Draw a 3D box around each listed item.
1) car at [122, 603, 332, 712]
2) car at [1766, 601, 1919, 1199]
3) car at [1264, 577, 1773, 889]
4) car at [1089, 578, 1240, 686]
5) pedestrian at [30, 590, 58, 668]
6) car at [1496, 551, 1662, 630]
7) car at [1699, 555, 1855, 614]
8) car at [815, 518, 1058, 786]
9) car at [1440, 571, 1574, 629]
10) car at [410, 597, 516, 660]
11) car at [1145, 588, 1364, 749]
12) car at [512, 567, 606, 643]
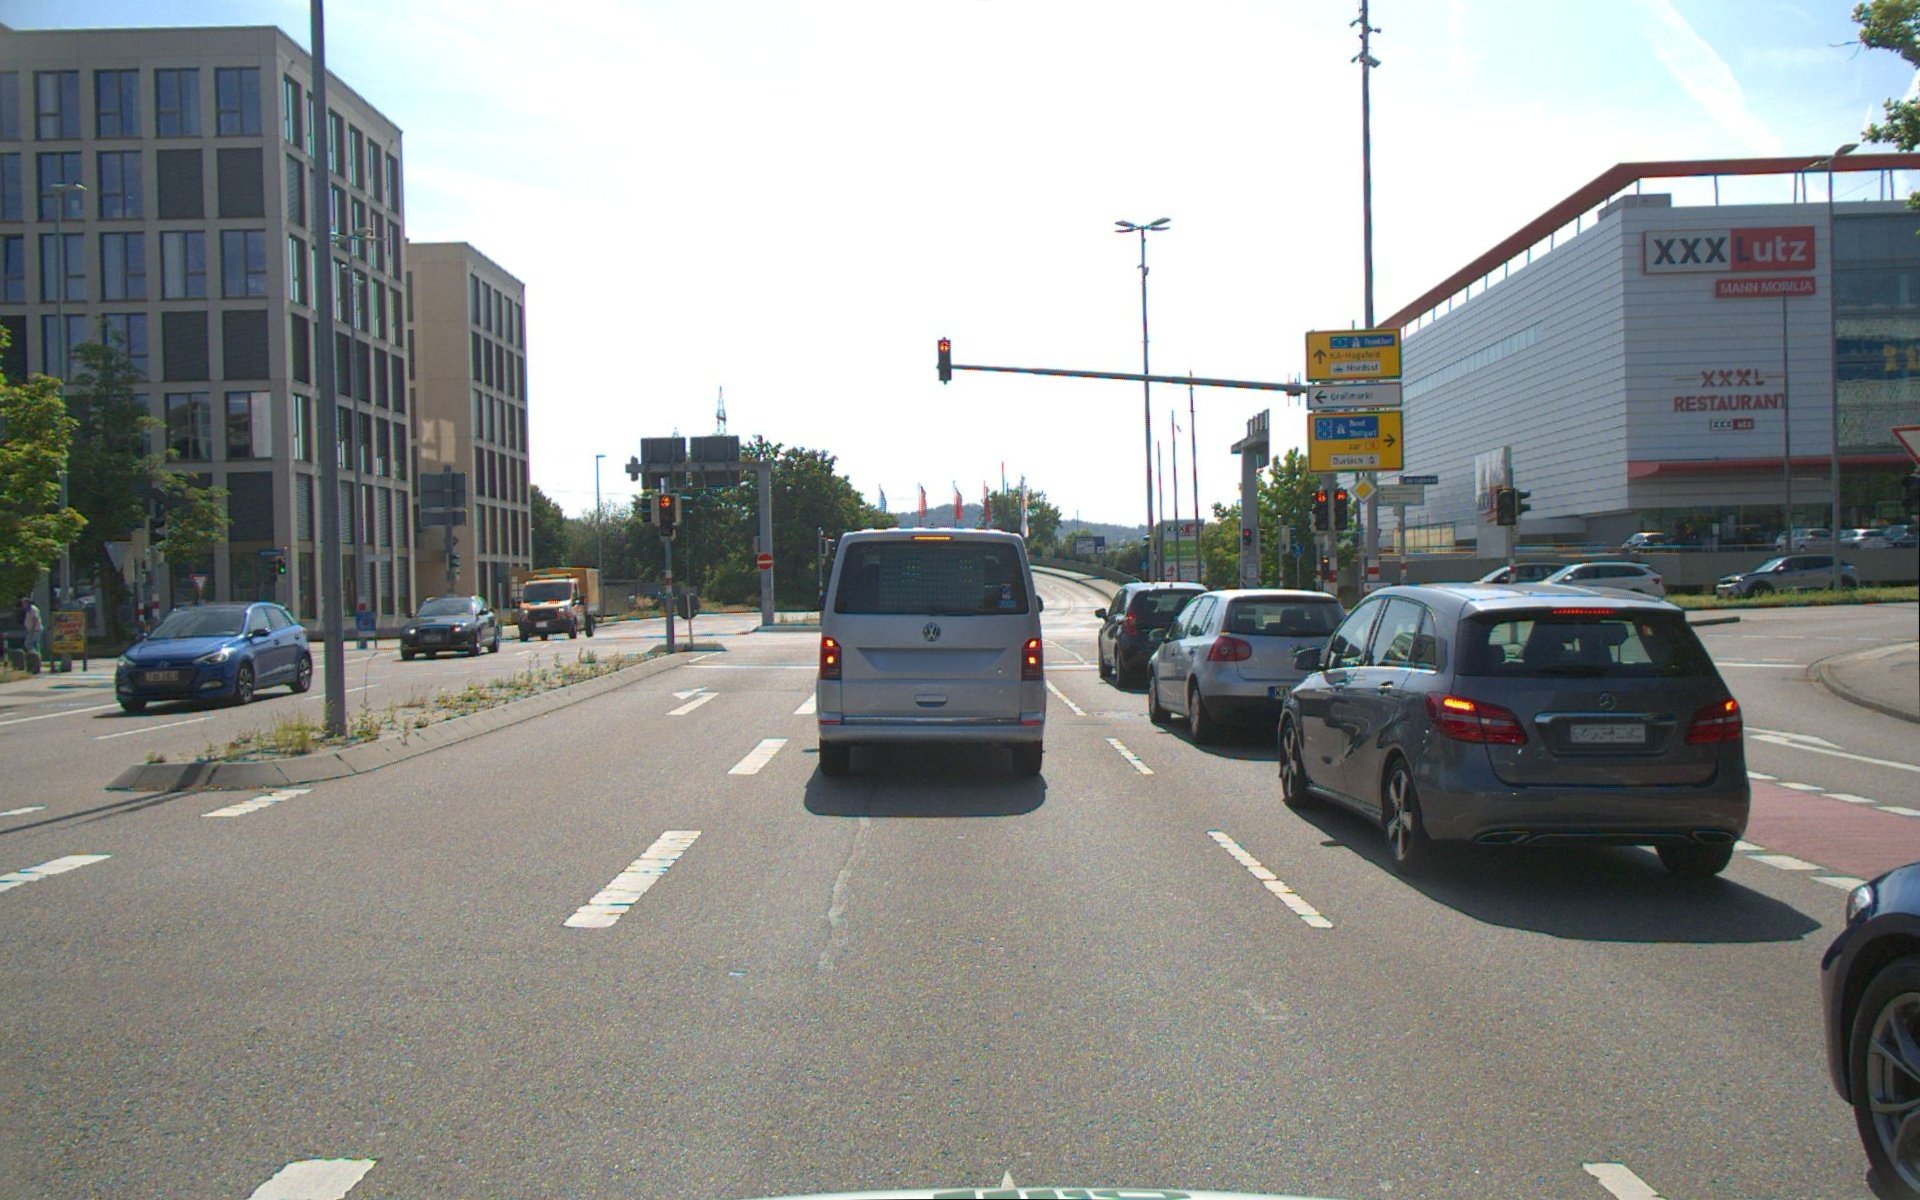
[{"bbox_3d":[-11.162,0.817,25.471,1.648,1.381,3.839,-2,2,-3],"label":"car"},{"bbox_3d":[3.180,0.766,2.460,1.711,1.484,4.475,0,1,-1],"label":"car"},{"bbox_3d":[3.158,0.639,10.260,1.711,1.543,4.077,0,1,-1],"label":"car"},{"bbox_3d":[3.114,0.439,25.910,1.799,1.552,3.999,0,0,-1],"label":"car"},{"bbox_3d":[-24.252,0.761,43.777,0.569,2.049,0.554,-2,0,-34],"label":"pedestrian"},{"bbox_3d":[18.481,-0.285,49.497,4.310,2.029,1.481,-4,0,3],"label":"car"},{"bbox_3d":[25.589,-0.489,51.892,4.046,1.545,1.481,-4,0,3],"label":"car"},{"bbox_3d":[-0.212,0.373,14.563,1.846,2.025,3.999,0,0,-1],"label":"car"},{"bbox_3d":[17.374,-0.006,52.627,3.694,1.545,1.481,-4,0,3],"label":"car"},{"bbox_3d":[-12.507,0.685,41.886,1.545,1.434,4.376,-2,1,-3],"label":"car"},{"bbox_3d":[2.962,0.625,17.315,1.546,1.483,3.784,0,0,-1],"label":"car"},{"bbox_3d":[-14.886,0.143,61.836,2.359,2.605,6.888,-2,1,-5],"label":"car"}]
